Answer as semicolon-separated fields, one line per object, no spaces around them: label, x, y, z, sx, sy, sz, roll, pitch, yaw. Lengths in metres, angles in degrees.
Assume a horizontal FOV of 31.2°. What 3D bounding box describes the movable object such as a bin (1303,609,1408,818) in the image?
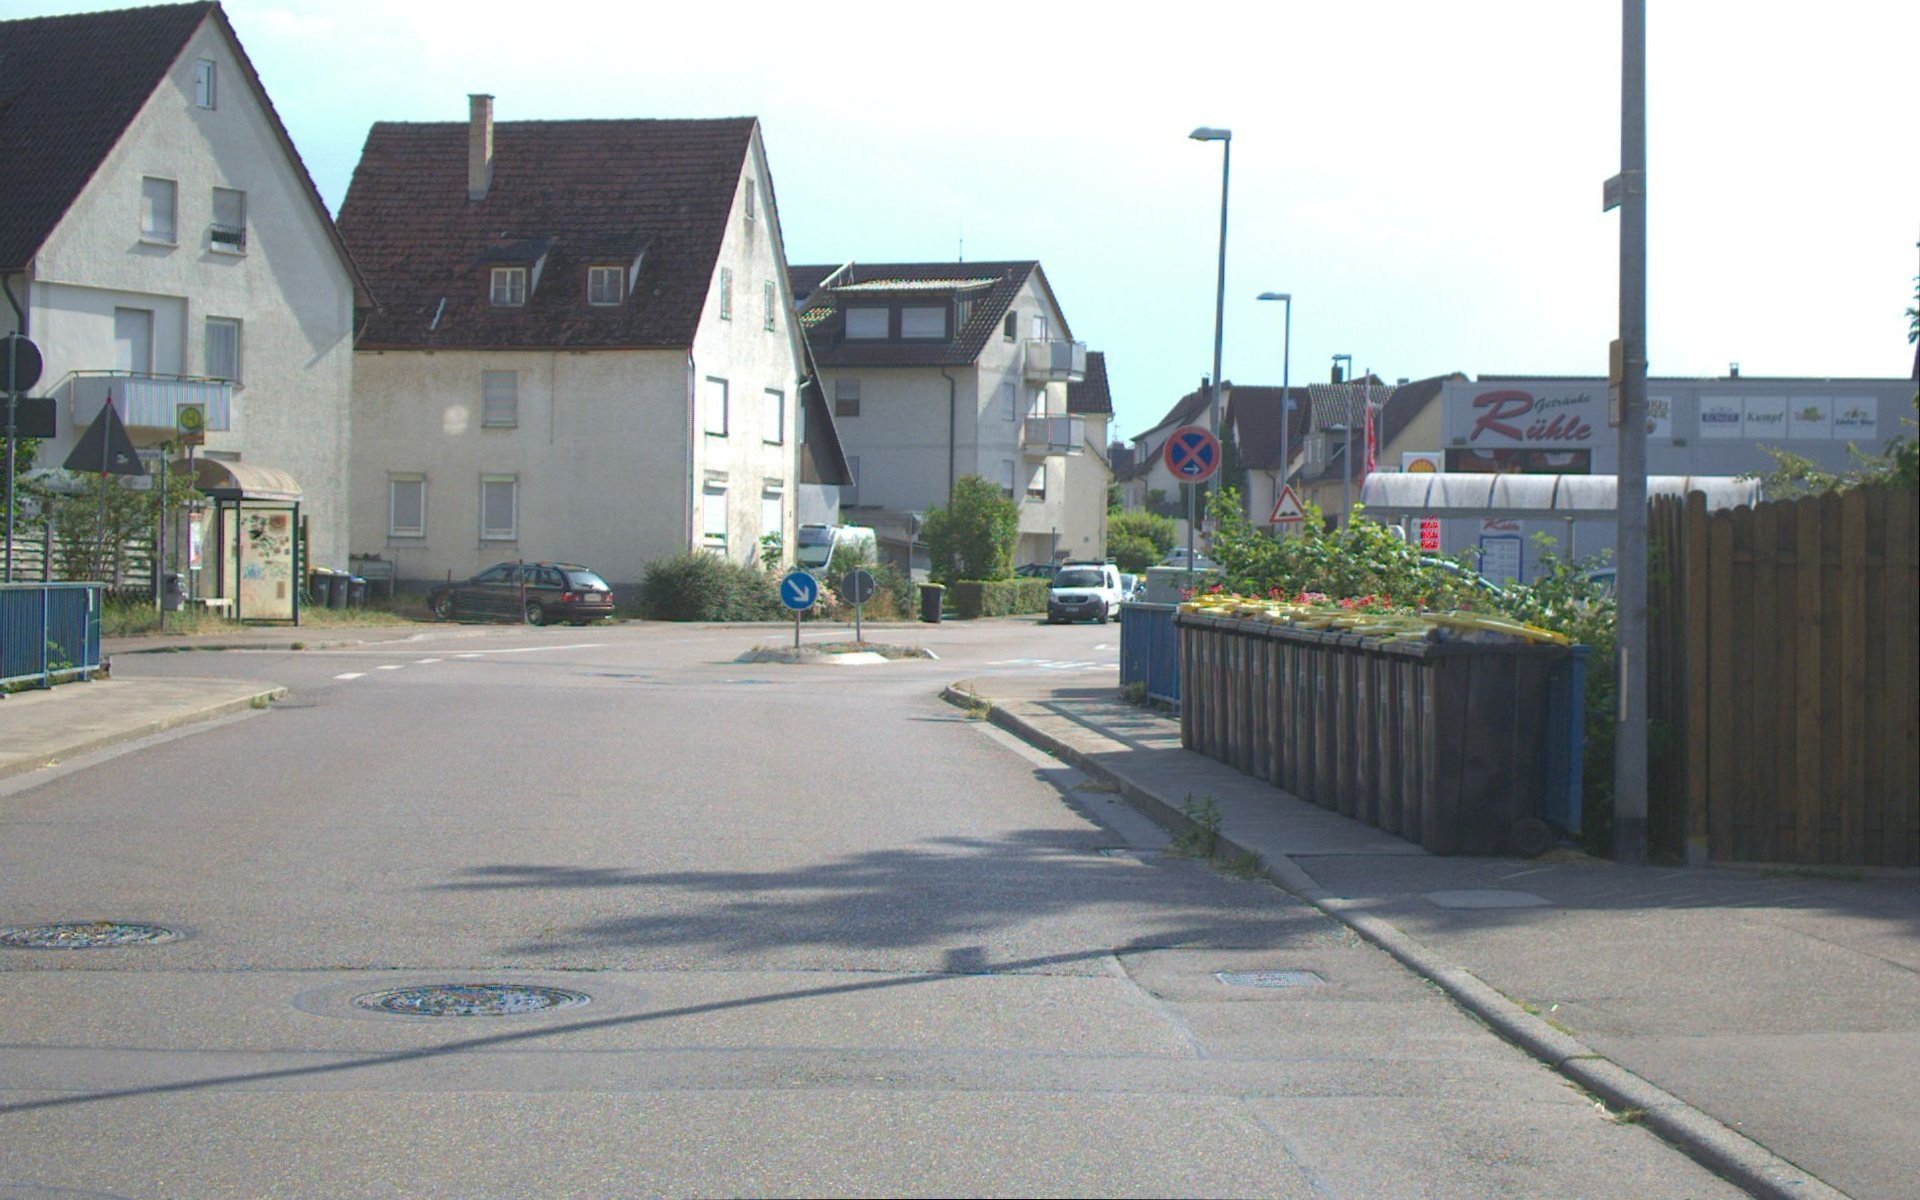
movable object such as a bin;2.203;0.626;19.183;0.478;1.139;0.538;1;1;-4

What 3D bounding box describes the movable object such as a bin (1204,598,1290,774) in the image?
movable object such as a bin;1.899;0.562;22.809;0.478;1.139;0.538;1;1;-4

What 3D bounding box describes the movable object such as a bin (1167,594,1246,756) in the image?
movable object such as a bin;1.759;0.532;24.606;0.478;1.139;0.538;1;1;-4

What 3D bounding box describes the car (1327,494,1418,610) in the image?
car;8.799;-1.018;73.194;1.837;2.367;5.177;1;1;7

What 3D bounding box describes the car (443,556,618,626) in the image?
car;-9.920;-0.225;79.326;3.996;1.428;1.649;3;2;38

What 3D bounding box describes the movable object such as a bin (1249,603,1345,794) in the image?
movable object such as a bin;2.057;0.594;21.039;0.478;1.139;0.565;1;1;-4

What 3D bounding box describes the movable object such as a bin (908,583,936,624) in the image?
movable object such as a bin;-1.039;0.093;93.145;0.611;1.097;0.575;2;0;11

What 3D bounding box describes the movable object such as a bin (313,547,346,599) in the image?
movable object such as a bin;-12.974;-0.557;70.740;0.361;1.037;0.557;1;-1;28

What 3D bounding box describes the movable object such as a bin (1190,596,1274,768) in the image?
movable object such as a bin;1.849;0.552;23.393;0.478;1.139;0.538;1;1;-4

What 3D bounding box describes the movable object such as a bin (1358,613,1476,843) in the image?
movable object such as a bin;2.322;0.644;17.495;0.478;1.139;0.543;1;1;-4

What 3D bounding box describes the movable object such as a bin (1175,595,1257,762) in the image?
movable object such as a bin;1.785;0.542;24.003;0.478;1.139;0.538;1;1;-4

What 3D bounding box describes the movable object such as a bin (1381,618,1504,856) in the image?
movable object such as a bin;2.370;0.665;16.924;0.478;1.139;0.538;1;1;-4

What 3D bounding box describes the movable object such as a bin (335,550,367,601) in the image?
movable object such as a bin;-12.627;-0.509;71.277;0.361;1.019;0.576;1;-1;28

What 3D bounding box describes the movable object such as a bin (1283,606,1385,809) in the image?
movable object such as a bin;2.156;0.614;19.844;0.478;1.139;0.538;1;1;-4

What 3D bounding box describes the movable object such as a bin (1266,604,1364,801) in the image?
movable object such as a bin;2.104;0.604;20.424;0.478;1.139;0.538;1;1;-4

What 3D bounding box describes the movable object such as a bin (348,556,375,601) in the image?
movable object such as a bin;-12.498;-0.449;71.833;0.361;0.922;0.399;1;-1;28

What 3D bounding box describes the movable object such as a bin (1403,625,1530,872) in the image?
movable object such as a bin;2.408;0.697;16.367;0.478;1.139;0.538;1;1;-4

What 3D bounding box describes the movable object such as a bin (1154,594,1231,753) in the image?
movable object such as a bin;1.699;0.533;25.200;0.478;1.139;0.538;1;1;-4

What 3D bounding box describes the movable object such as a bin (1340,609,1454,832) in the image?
movable object such as a bin;2.290;0.624;18.055;0.478;1.139;0.538;1;1;-4

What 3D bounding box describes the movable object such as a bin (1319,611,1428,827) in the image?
movable object such as a bin;2.235;0.636;18.612;0.478;1.139;0.538;1;1;-4

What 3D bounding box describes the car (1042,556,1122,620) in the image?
car;3.690;-0.388;103.400;1.717;1.866;4.190;0;1;12

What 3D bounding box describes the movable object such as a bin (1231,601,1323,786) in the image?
movable object such as a bin;1.991;0.583;21.647;0.478;1.139;0.538;1;1;-4

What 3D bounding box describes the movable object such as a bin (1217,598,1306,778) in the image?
movable object such as a bin;1.950;0.562;22.243;0.478;1.139;0.538;1;1;-4
